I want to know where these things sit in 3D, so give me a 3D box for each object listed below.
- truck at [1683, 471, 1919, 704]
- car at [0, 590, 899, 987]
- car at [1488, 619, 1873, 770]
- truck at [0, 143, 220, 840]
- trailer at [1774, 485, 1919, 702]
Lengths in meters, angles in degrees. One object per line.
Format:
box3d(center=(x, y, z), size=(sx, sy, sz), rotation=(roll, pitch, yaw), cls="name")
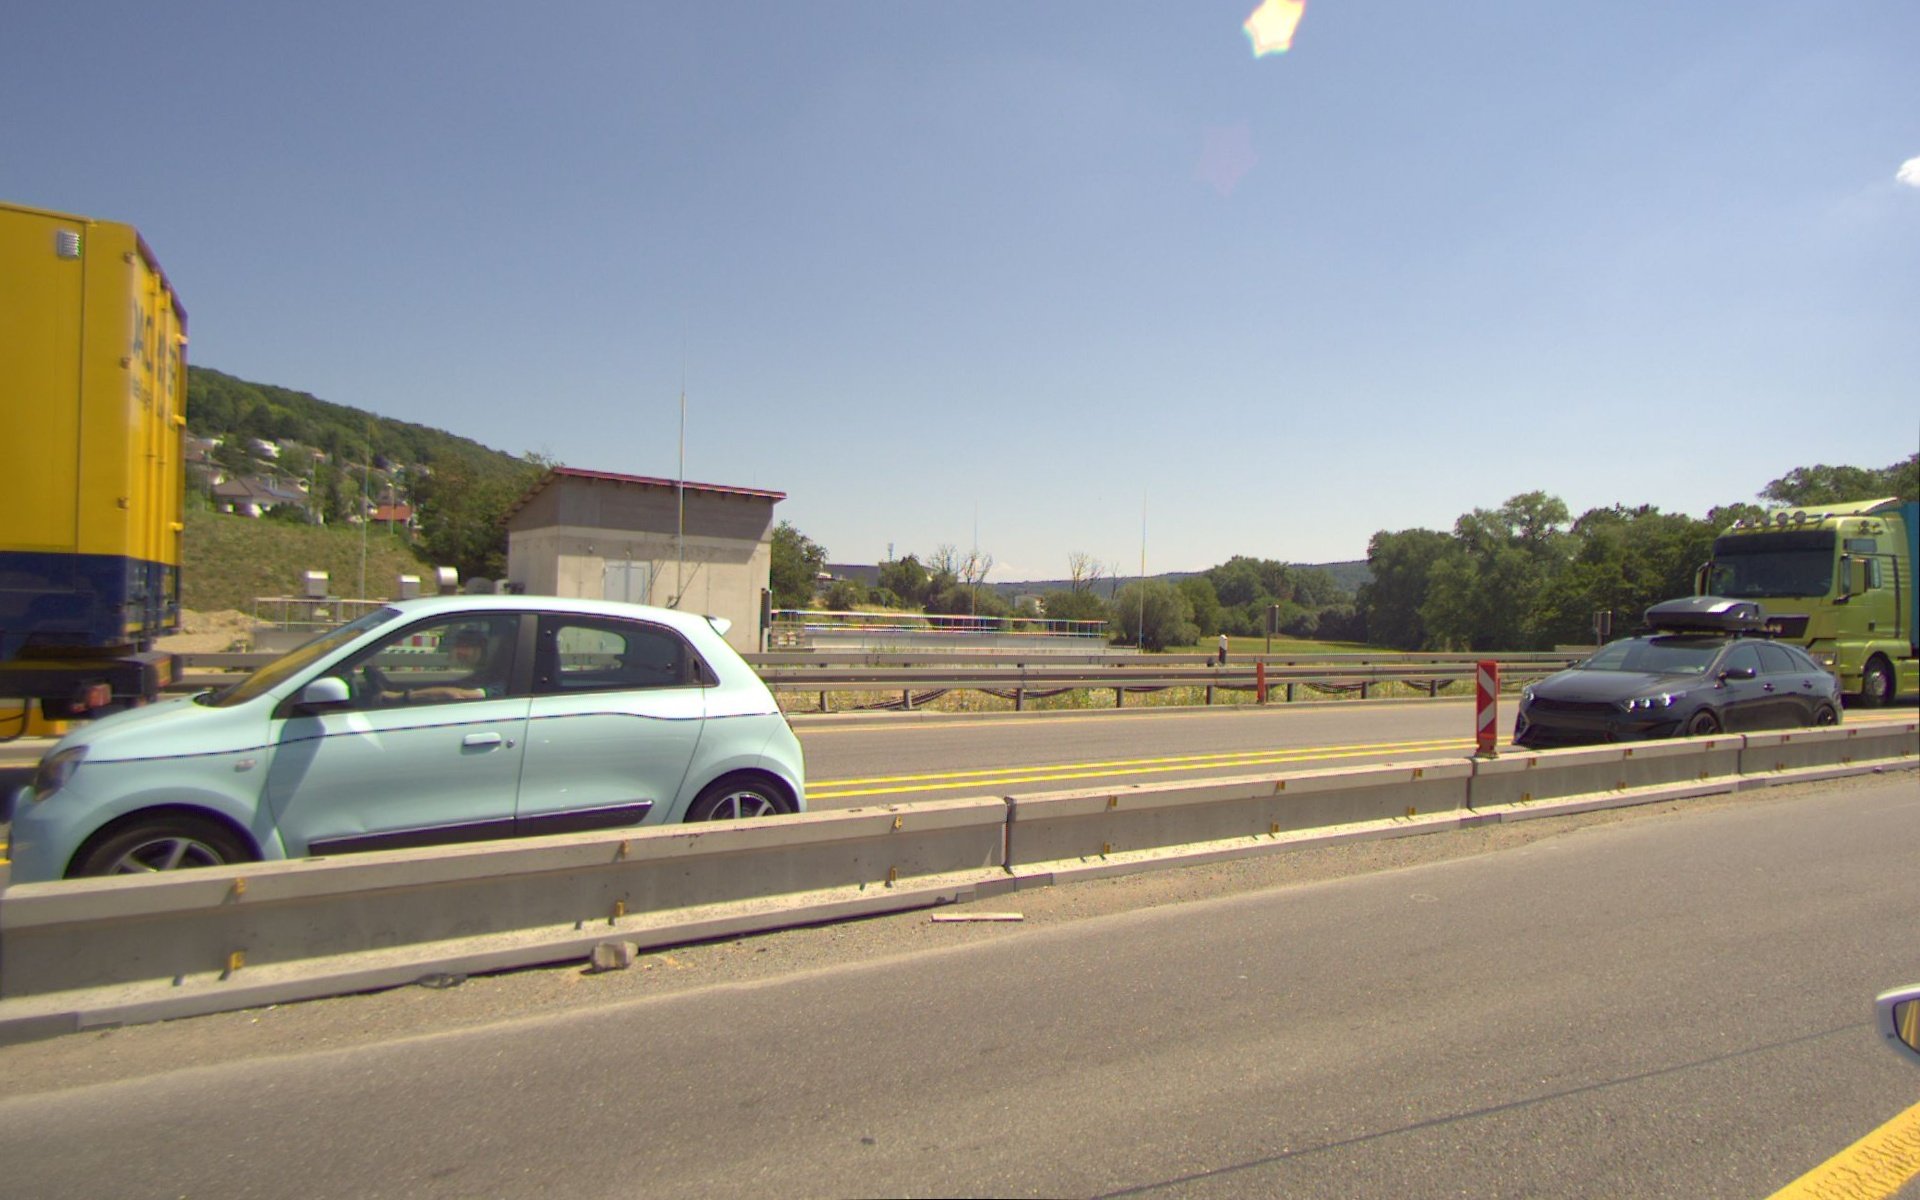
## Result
box3d(center=(17.925, -0.149, 20.821), size=(4.665, 4.327, 2.619), rotation=(2, 0, -23), cls="truck")
box3d(center=(-2.458, 0.739, 5.472), size=(3.954, 1.505, 1.628), rotation=(1, 0, -31), cls="car")
box3d(center=(8.478, 0.997, 11.755), size=(4.525, 1.454, 1.813), rotation=(1, 0, -28), cls="car")
box3d(center=(-12.586, -0.966, 3.956), size=(15.203, 4.399, 2.792), rotation=(3, -1, -32), cls="truck")
box3d(center=(24.953, 0.133, 23.676), size=(13.111, 4.349, 2.643), rotation=(3, 0, -21), cls="trailer")
